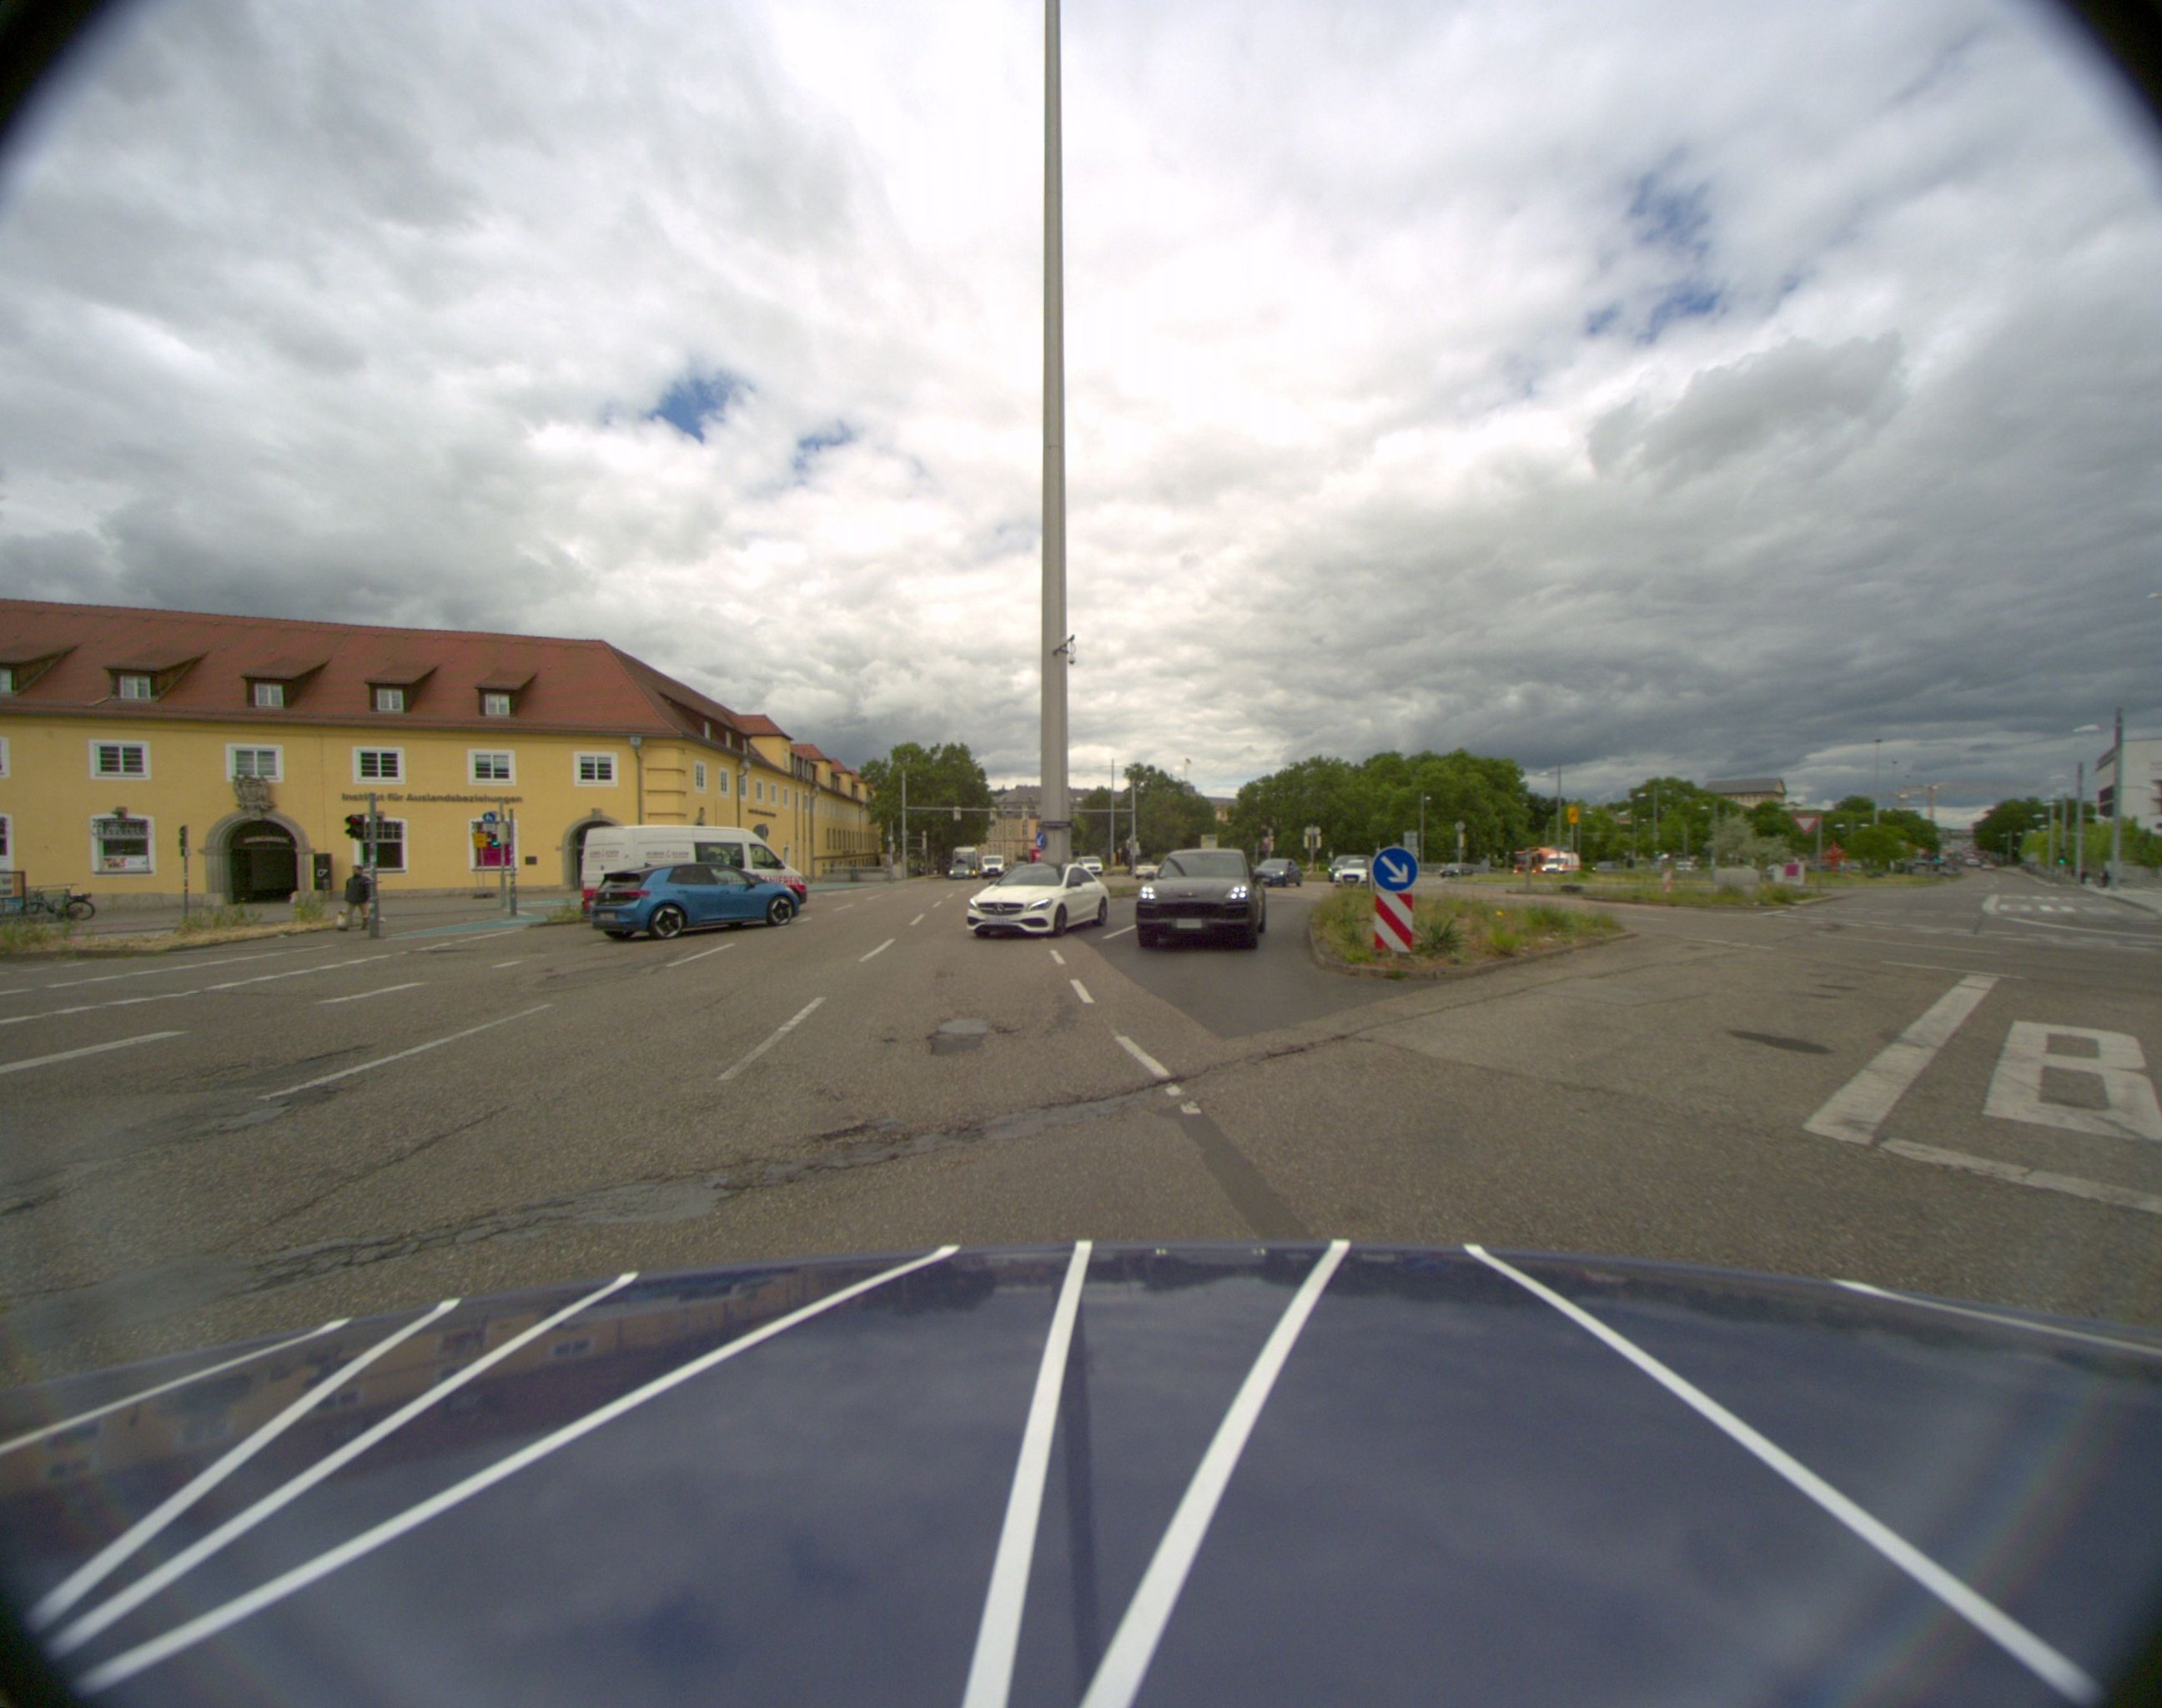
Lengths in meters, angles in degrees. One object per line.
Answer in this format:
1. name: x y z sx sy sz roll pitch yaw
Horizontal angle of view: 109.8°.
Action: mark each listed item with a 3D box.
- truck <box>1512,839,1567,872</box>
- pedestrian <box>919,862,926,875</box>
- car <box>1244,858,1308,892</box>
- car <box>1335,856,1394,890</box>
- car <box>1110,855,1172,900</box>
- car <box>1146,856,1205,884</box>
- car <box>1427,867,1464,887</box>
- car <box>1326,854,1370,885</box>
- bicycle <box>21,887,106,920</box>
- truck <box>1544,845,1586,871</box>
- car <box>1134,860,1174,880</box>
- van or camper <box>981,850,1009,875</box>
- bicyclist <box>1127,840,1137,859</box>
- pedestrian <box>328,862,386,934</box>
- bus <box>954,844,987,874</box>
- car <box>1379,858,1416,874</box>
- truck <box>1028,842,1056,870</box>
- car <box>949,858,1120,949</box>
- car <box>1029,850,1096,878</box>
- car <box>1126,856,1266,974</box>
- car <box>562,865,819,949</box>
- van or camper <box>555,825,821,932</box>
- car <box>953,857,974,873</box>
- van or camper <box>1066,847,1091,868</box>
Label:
1. truck: 52.487 0.171 86.881 9.197 3.595 2.721 0 0 -41
2. pedestrian: -17.144 1.564 82.162 0.682 1.372 0.578 0 0 -10
3. car: 10.135 1.044 39.286 1.994 1.592 4.008 -1 0 33
4. car: 14.583 0.923 38.952 2.091 1.599 4.421 -1 0 30
5. car: 2.365 0.824 28.790 1.997 1.537 4.571 0 1 9
6. car: 5.792 0.916 46.188 1.995 1.496 5.048 -1 1 26
7. car: 33.935 2.105 70.735 3.748 1.728 1.855 0 0 -42
8. car: 18.490 1.007 52.466 1.855 1.976 4.651 1 1 32
9. bicycle: -36.798 1.777 27.497 1.773 1.079 0.620 -1 1 -20
10. truck: 51.944 0.413 81.525 5.800 2.767 1.951 0 0 -37
11. car: 5.407 1.135 55.784 1.725 1.410 3.654 -1 -1 26
12. van or camper: -8.045 0.812 71.595 2.374 2.249 6.285 0 0 -5
13. bicyclist: 4.596 -0.404 68.537 0.723 1.630 0.504 0 0 -30
14. pedestrian: -18.703 1.113 19.646 0.828 1.779 0.751 -1 1 -22
15. bus: -12.828 0.512 87.211 3.436 3.185 13.051 0 0 -10
16. car: 30.056 1.135 72.155 3.590 1.455 1.773 -2 1 -41
17. truck: -5.096 0.308 98.279 2.792 3.469 8.344 0 0 -8
18. car: -0.757 0.897 15.913 1.867 1.560 4.658 -1 0 19
19. car: -0.922 0.519 40.728 1.755 1.325 4.420 -2 0 25
20. car: 2.302 0.917 13.858 2.002 1.629 5.025 0 1 15
21. car: -8.299 1.051 16.650 1.944 1.474 4.636 -2 -1 29
22. van or camper: -10.280 0.555 20.590 2.141 2.462 6.172 -2 0 29
23. car: -10.840 1.024 70.103 1.829 1.400 3.997 0 0 -8
24. van or camper: -0.291 0.352 73.931 1.866 1.905 4.710 -1 0 -7
